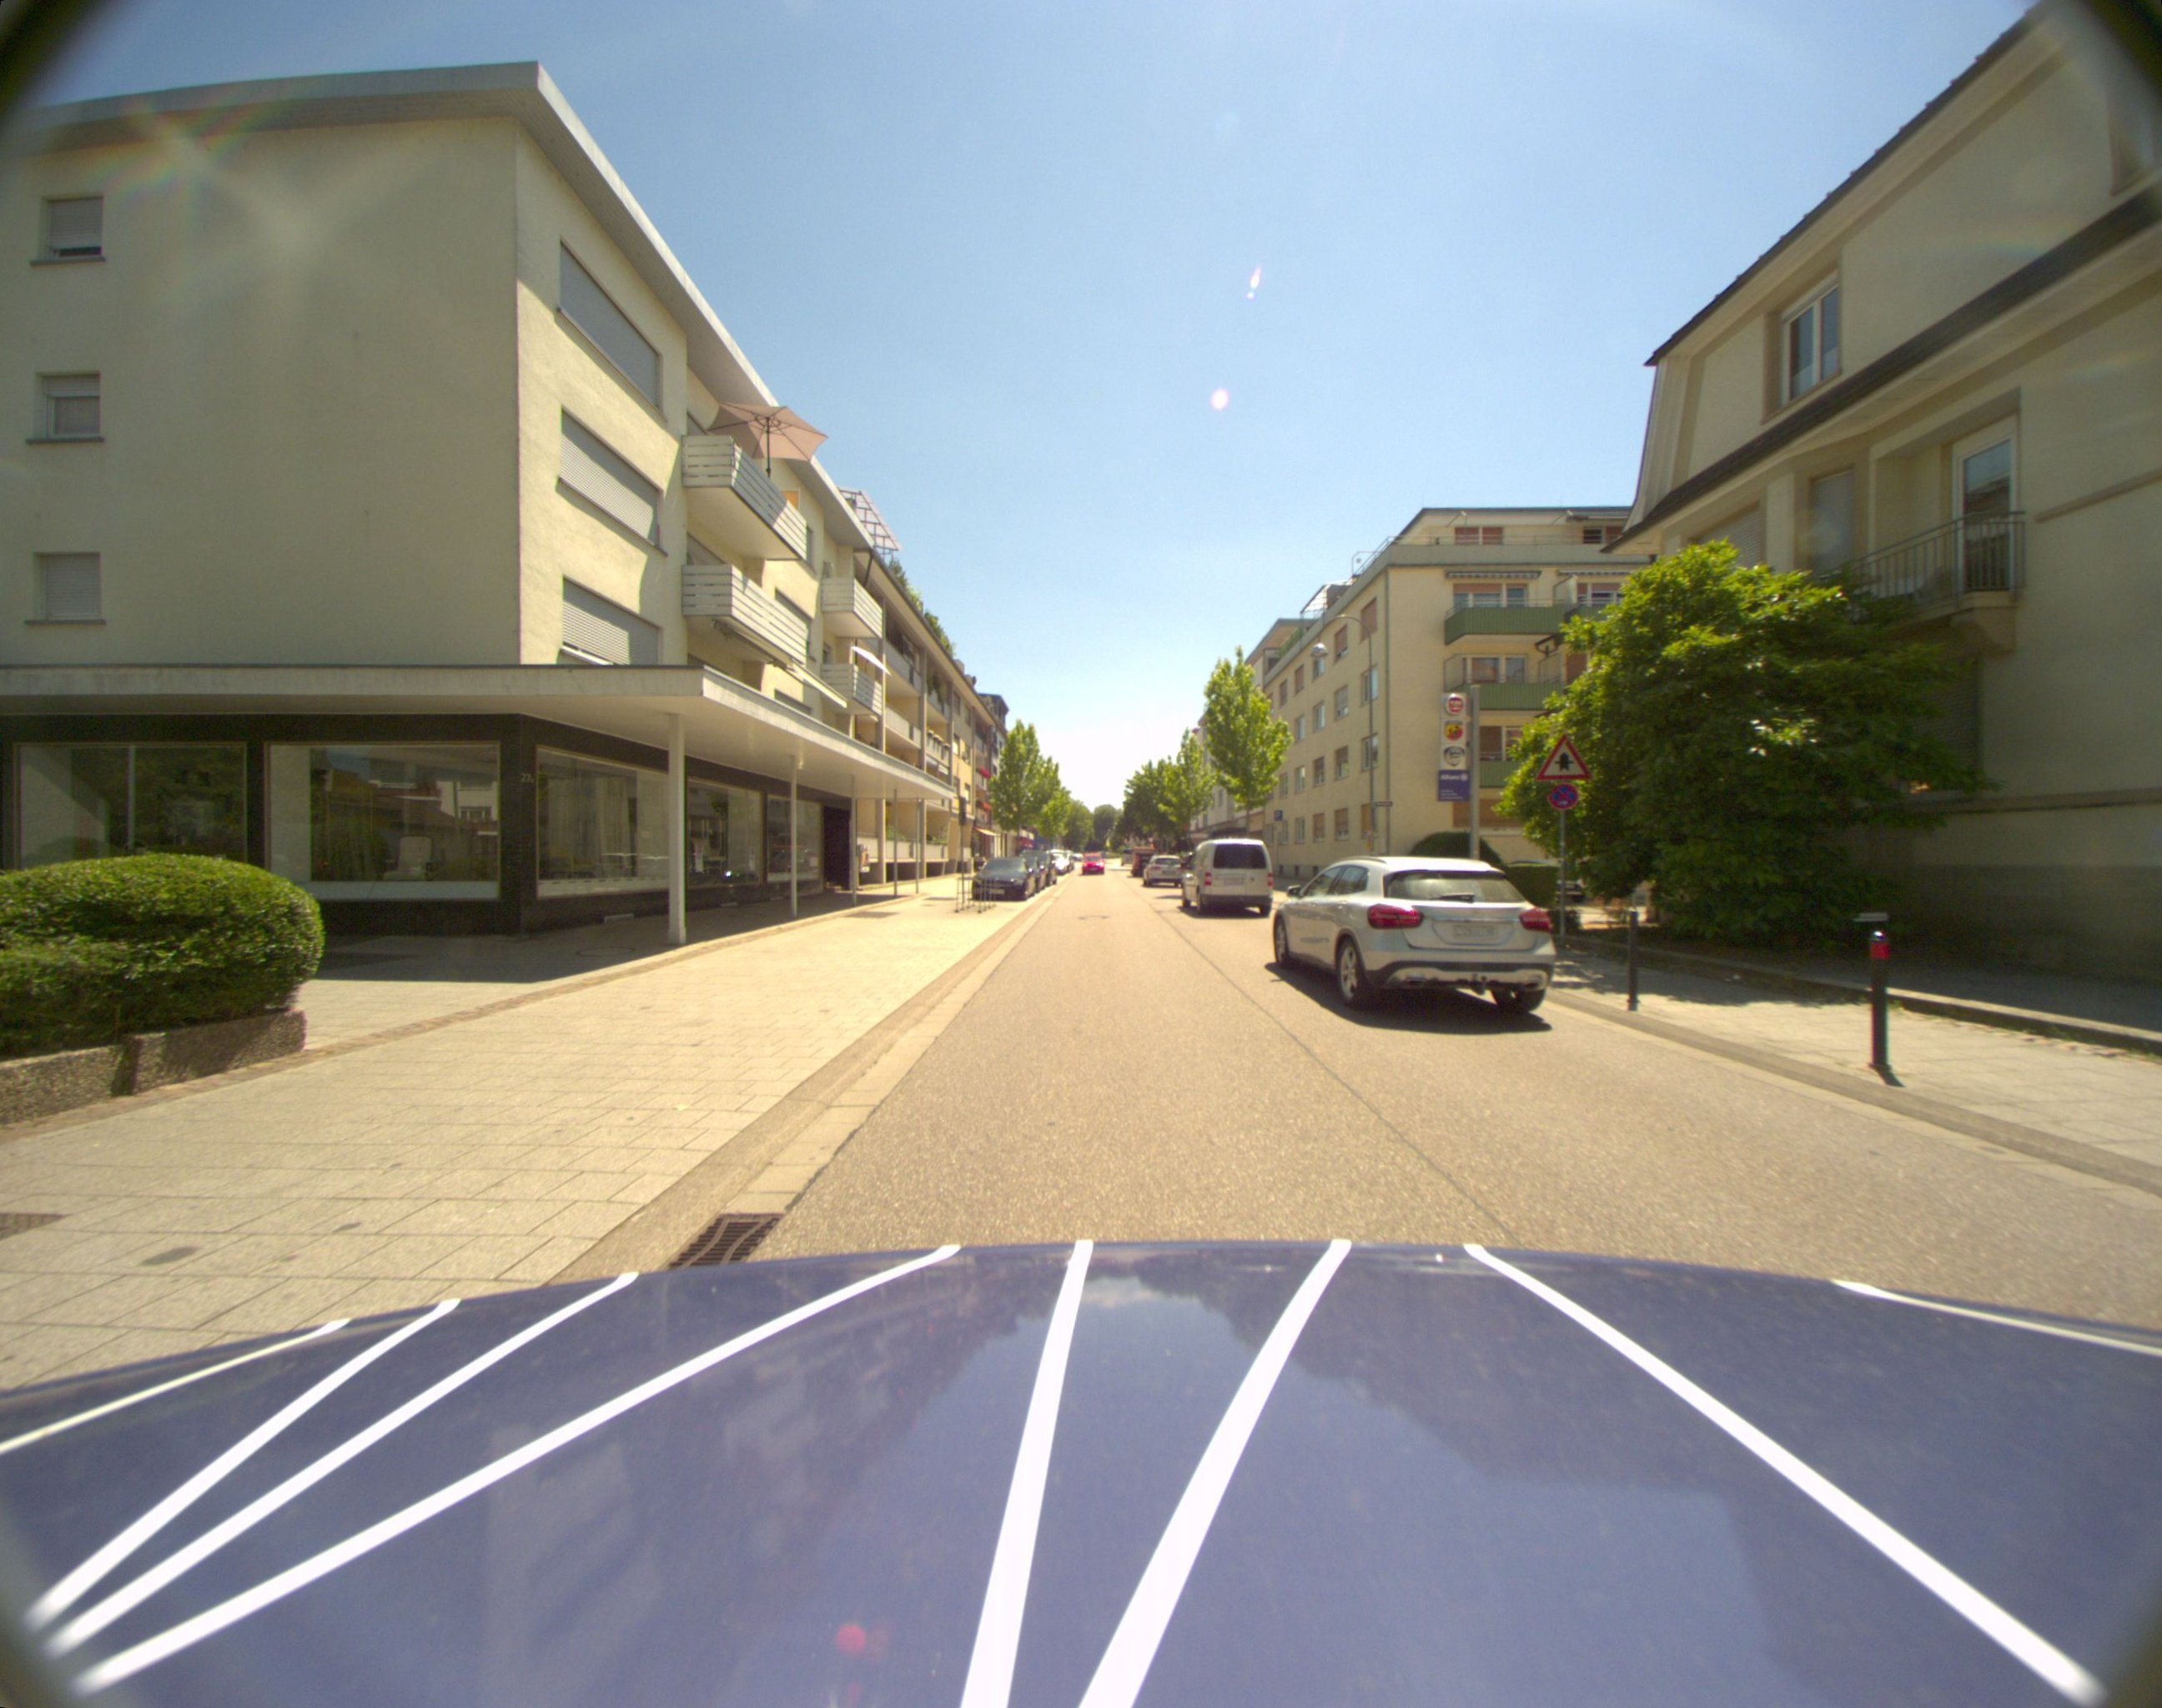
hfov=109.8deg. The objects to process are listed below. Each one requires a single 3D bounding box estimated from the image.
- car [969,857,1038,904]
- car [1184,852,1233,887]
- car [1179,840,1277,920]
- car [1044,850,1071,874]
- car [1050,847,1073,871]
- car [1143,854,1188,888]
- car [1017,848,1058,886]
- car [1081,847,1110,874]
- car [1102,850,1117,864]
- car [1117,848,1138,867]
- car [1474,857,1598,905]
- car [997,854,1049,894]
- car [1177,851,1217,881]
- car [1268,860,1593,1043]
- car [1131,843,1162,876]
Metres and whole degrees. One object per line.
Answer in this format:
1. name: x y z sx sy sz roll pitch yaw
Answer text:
1. car: -2.555 0.837 25.945 1.818 1.379 4.115 3 0 1
2. car: 6.435 0.727 38.713 1.731 1.661 4.293 -1 0 0
3. car: 3.657 0.594 19.611 1.706 1.815 4.231 1 0 1
4. car: -1.695 0.538 55.745 1.731 1.680 4.115 0 0 1
5. car: -1.546 0.362 61.222 1.731 1.861 4.115 0 0 1
6. car: 4.028 0.786 36.697 1.731 1.500 4.294 0 0 1
7. car: -2.070 0.612 37.368 1.731 1.752 4.115 0 0 1
8. car: 1.077 0.467 57.148 2.000 1.880 4.294 -2 0 1
9. car: 3.369 0.374 91.788 1.698 1.594 3.812 0 0 0
10. car: 4.981 0.357 81.468 2.000 1.880 4.294 1 0 1
11. car: 15.716 0.877 26.482 1.751 1.499 3.748 0 0 -7
12. car: -2.290 0.764 31.046 1.731 1.499 4.115 0 0 1
13. car: 6.646 0.651 43.890 1.731 1.661 4.294 -1 0 1
14. car: 3.494 0.856 8.548 1.834 1.502 4.031 0 0 1
15. car: 4.436 0.347 51.996 1.731 2.154 4.294 1 0 1
